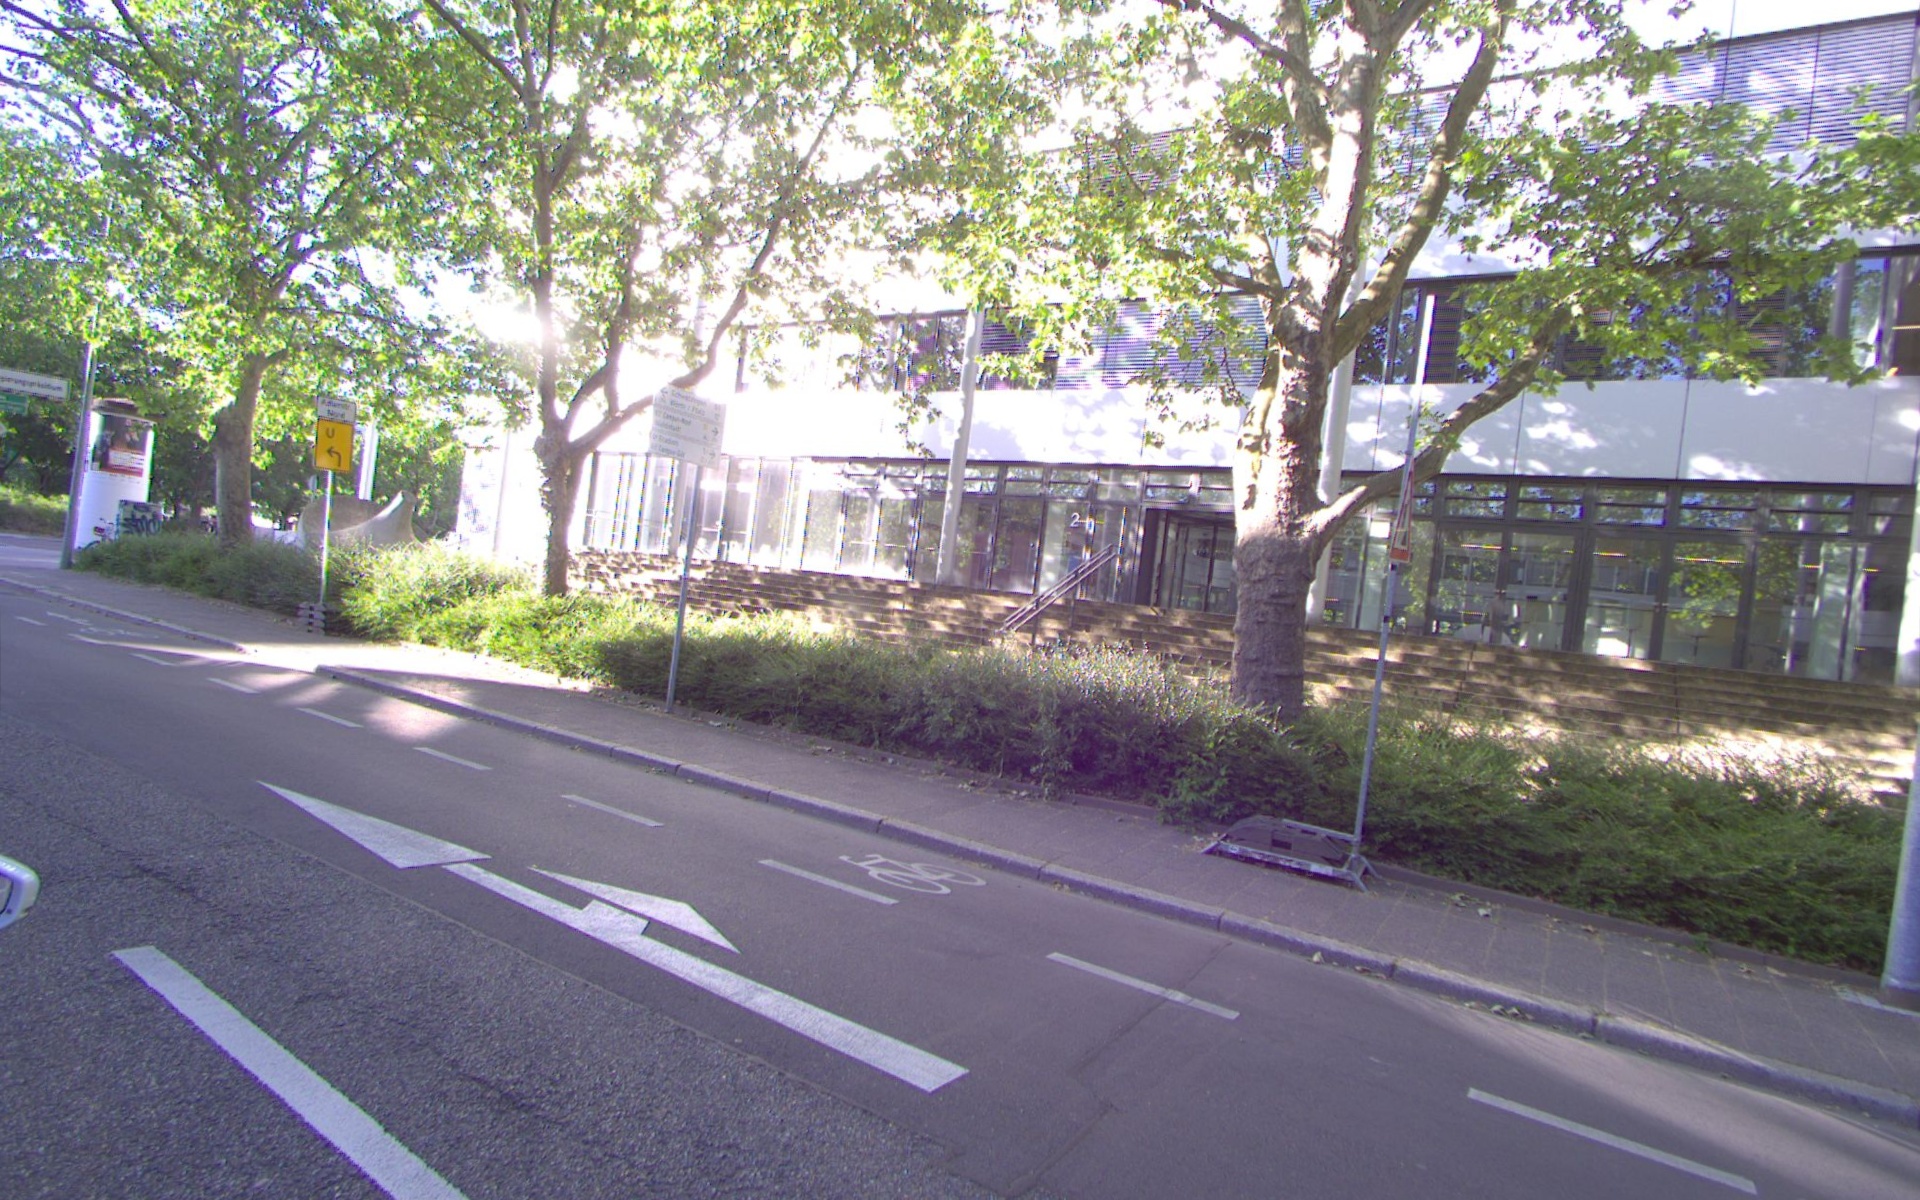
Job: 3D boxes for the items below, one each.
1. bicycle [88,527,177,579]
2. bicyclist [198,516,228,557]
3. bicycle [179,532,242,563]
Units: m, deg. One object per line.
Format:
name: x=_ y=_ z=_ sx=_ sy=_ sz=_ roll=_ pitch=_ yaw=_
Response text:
bicycle: x=-19.038 y=-1.070 z=23.175 sx=0.295 sy=0.991 sz=1.484 roll=6 pitch=-2 yaw=37
bicyclist: x=-31.313 y=-2.670 z=42.171 sx=0.588 sy=1.600 sz=0.730 roll=6 pitch=-1 yaw=38
bicycle: x=-31.379 y=-2.196 z=42.143 sx=0.592 sy=0.991 sz=1.918 roll=6 pitch=-2 yaw=37
